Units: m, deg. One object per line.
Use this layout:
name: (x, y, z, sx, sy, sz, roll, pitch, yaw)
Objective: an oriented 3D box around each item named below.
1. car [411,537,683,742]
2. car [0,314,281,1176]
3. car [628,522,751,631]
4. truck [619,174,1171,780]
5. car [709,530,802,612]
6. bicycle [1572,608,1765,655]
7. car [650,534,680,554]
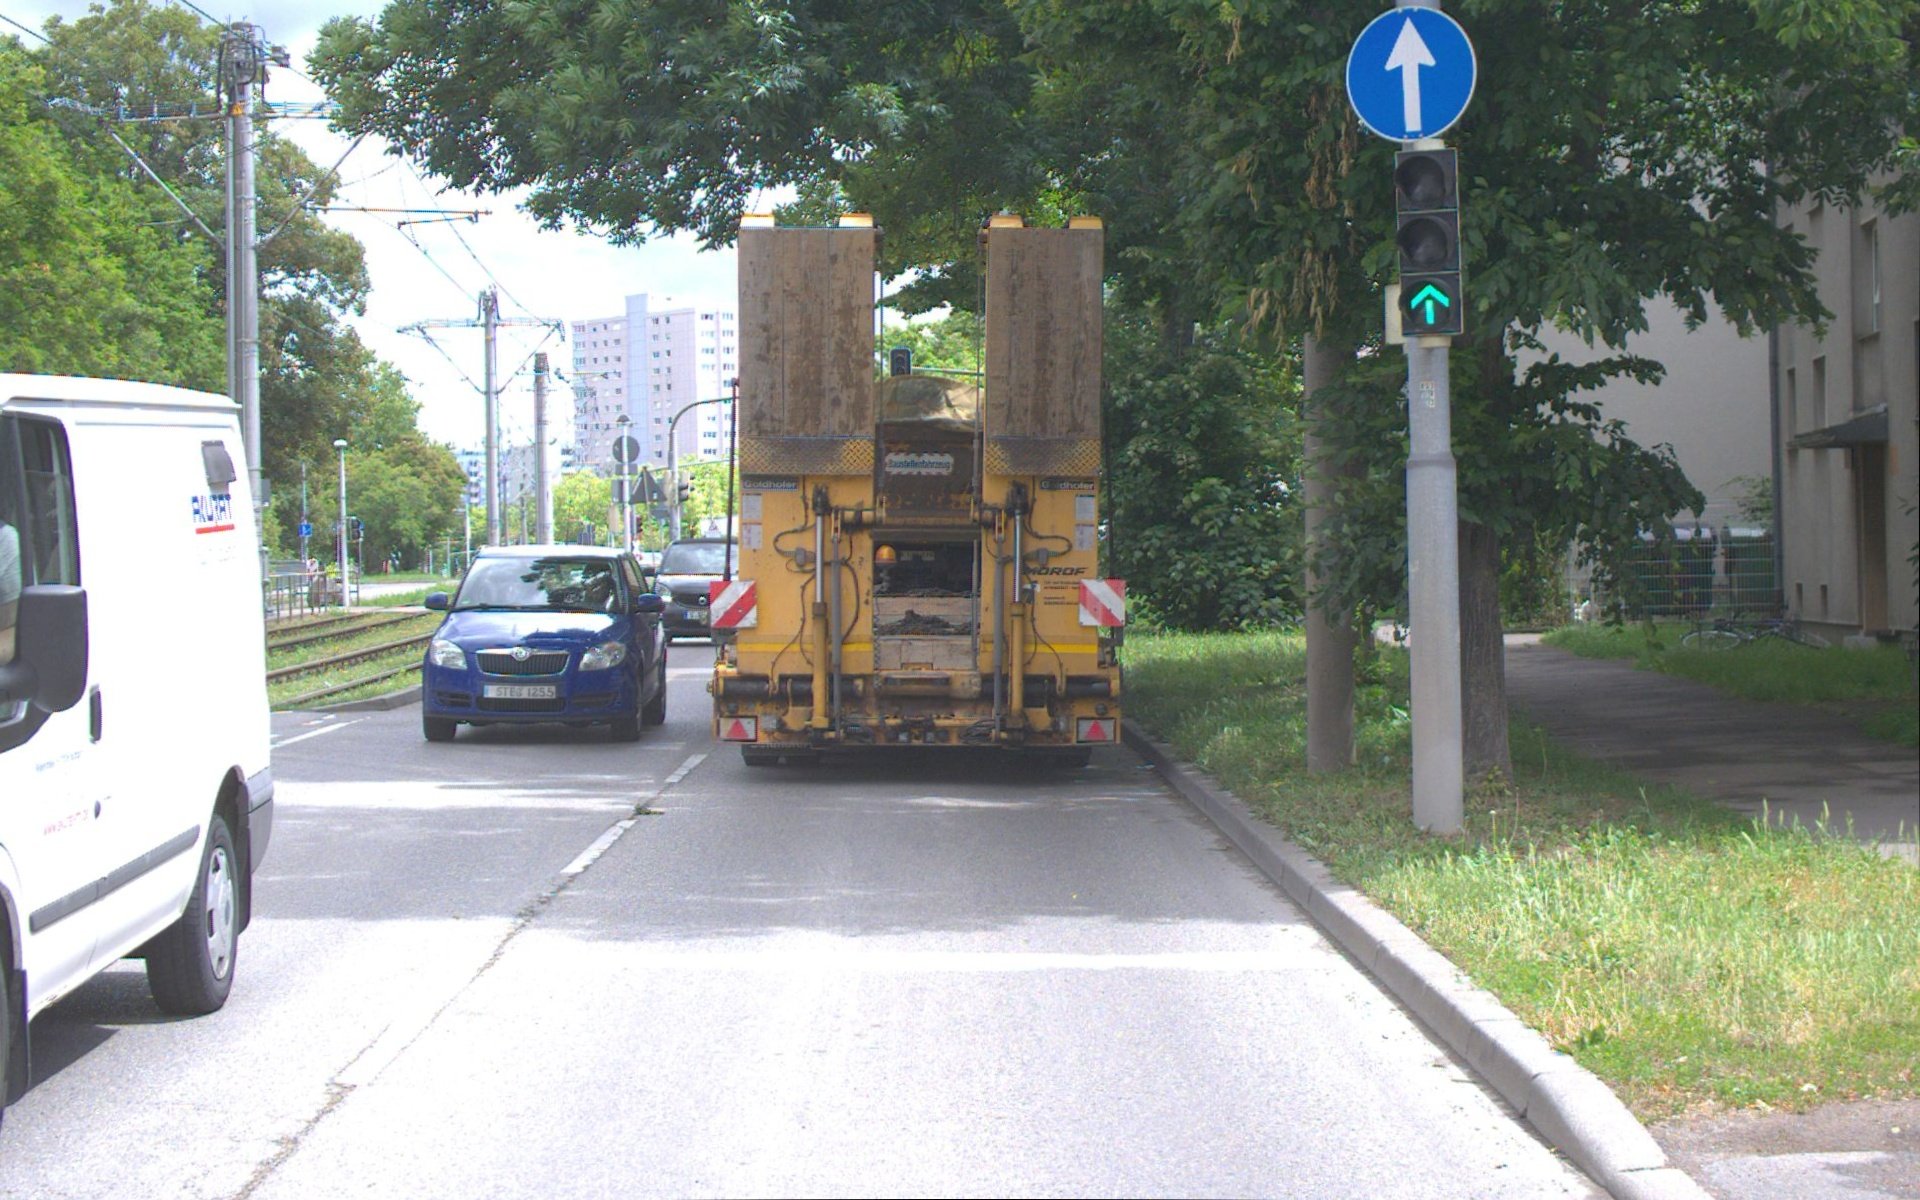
car: (-3.196, 0.255, 27.222, 1.581, 1.480, 3.806, 1, 1, 2)
car: (-3.260, 0.305, 9.443, 1.993, 1.989, 4.787, 0, 1, -2)
car: (-3.941, -0.366, 50.430, 1.637, 1.528, 3.275, 1, 1, -2)
truck: (-0.614, -0.767, 27.012, 3.316, 3.638, 12.563, 0, 0, -2)
car: (-4.065, -0.595, 68.793, 1.716, 1.539, 4.001, 1, 2, -1)
bicycle: (8.315, 0.366, 40.406, 2.205, 0.506, 0.673, 1, 0, 10)
car: (-21.882, -4.123, 254.939, 1.993, 1.415, 4.001, 1, 0, -7)
